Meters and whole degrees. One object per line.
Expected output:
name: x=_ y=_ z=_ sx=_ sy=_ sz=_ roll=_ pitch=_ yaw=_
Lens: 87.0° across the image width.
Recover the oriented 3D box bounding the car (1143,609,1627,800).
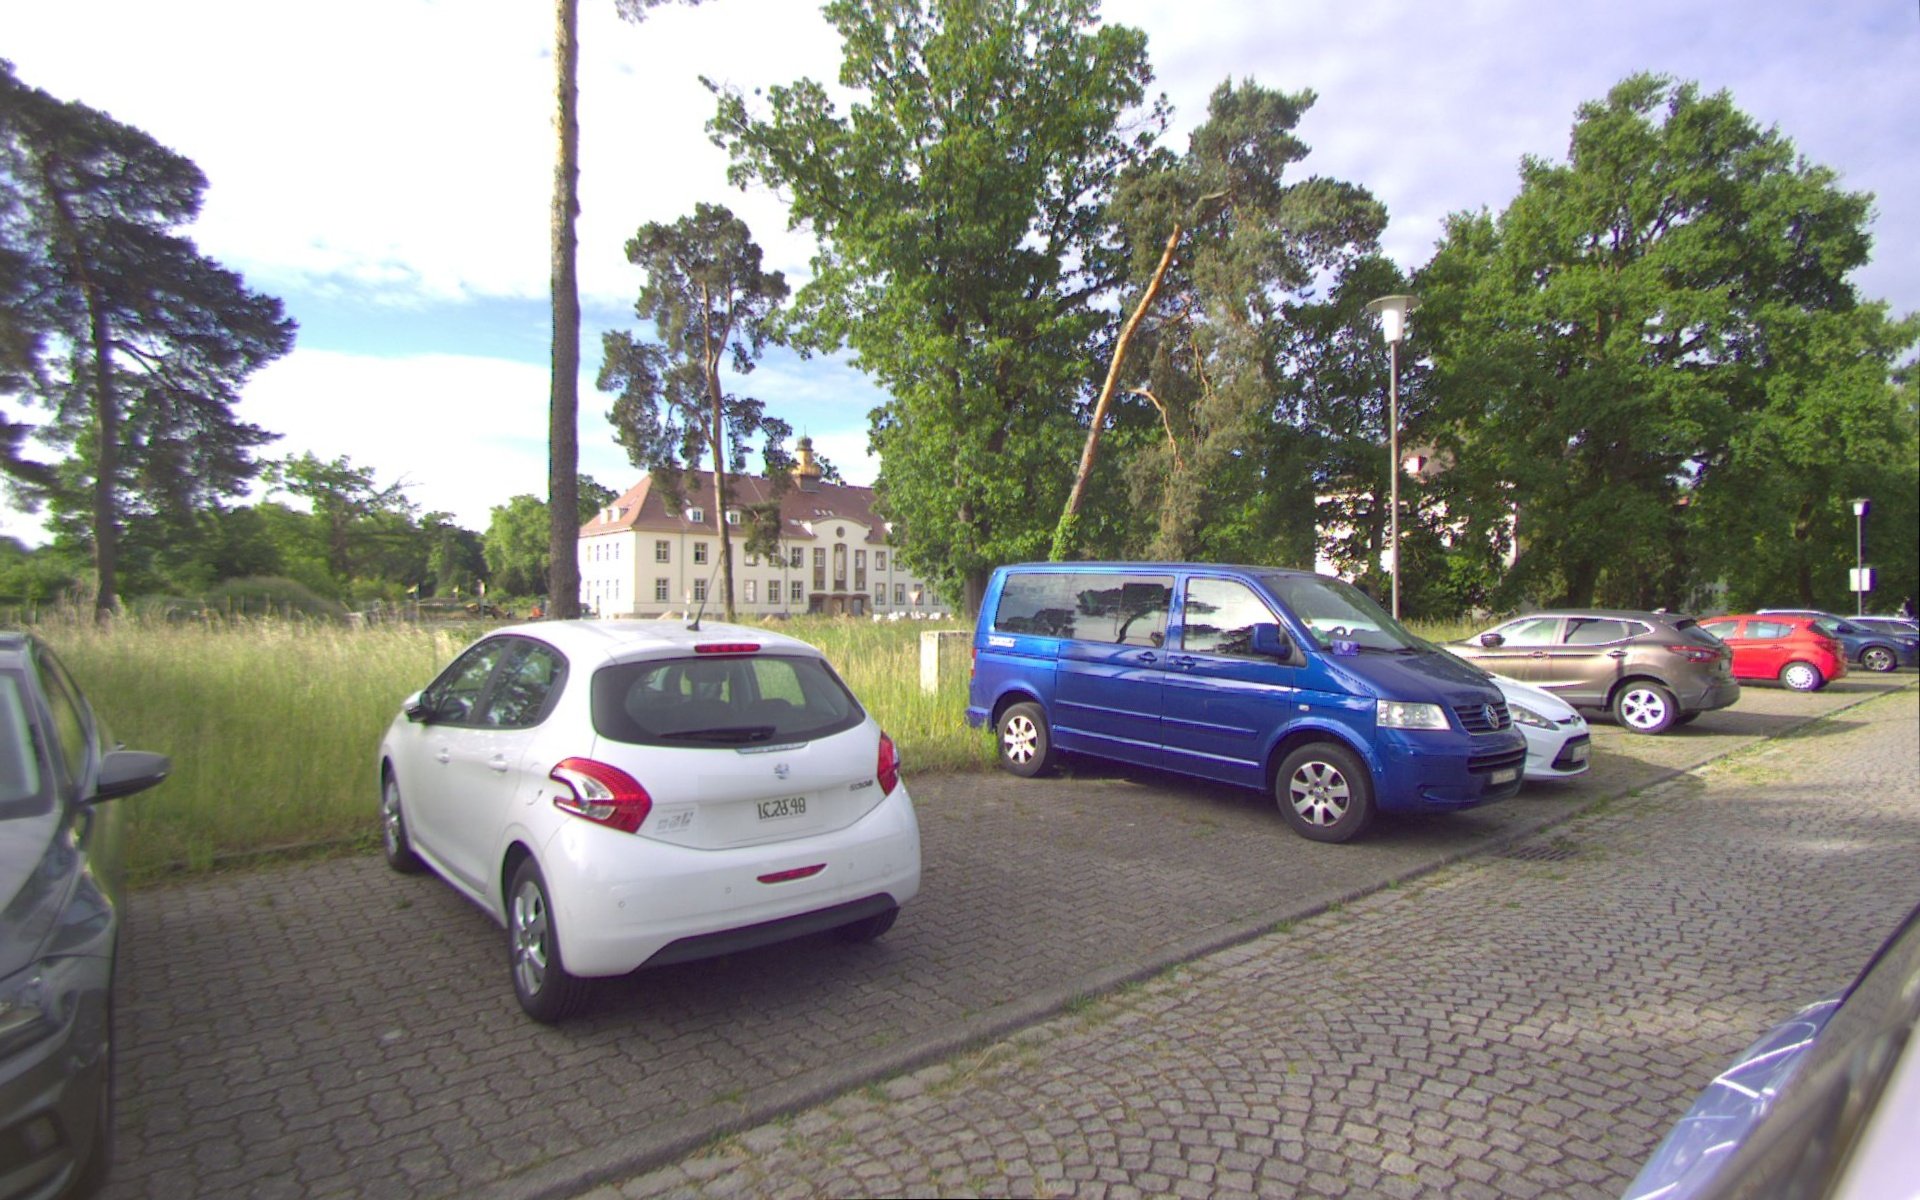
car: x=4.106 y=0.858 z=10.282 sx=1.778 sy=1.488 sz=4.193 roll=0 pitch=0 yaw=-44

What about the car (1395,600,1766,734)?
car: x=8.714 y=0.818 z=14.504 sx=1.845 sy=1.609 sz=4.196 roll=0 pitch=0 yaw=-41

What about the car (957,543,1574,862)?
car: x=2.263 y=0.570 z=8.642 sx=1.958 sy=1.952 sz=4.741 roll=0 pitch=1 yaw=-41

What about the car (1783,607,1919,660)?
car: x=27.618 y=0.985 z=30.555 sx=1.751 sy=1.469 sz=4.035 roll=0 pitch=0 yaw=-38

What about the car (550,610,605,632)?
car: x=-36.049 y=1.967 z=95.282 sx=5.644 sy=2.039 sz=2.593 roll=-1 pitch=-1 yaw=43

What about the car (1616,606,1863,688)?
car: x=16.238 y=0.910 z=21.219 sx=1.658 sy=1.491 sz=3.883 roll=0 pitch=1 yaw=-41

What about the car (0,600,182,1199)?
car: x=-3.668 y=0.754 z=3.163 sx=1.798 sy=1.486 sz=3.958 roll=0 pitch=0 yaw=-40

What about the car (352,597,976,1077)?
car: x=-1.851 y=0.765 z=5.362 sx=1.776 sy=1.550 sz=3.881 roll=0 pitch=0 yaw=-40

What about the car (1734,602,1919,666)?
car: x=23.962 y=0.869 z=27.735 sx=1.716 sy=1.589 sz=4.132 roll=0 pitch=0 yaw=-41
